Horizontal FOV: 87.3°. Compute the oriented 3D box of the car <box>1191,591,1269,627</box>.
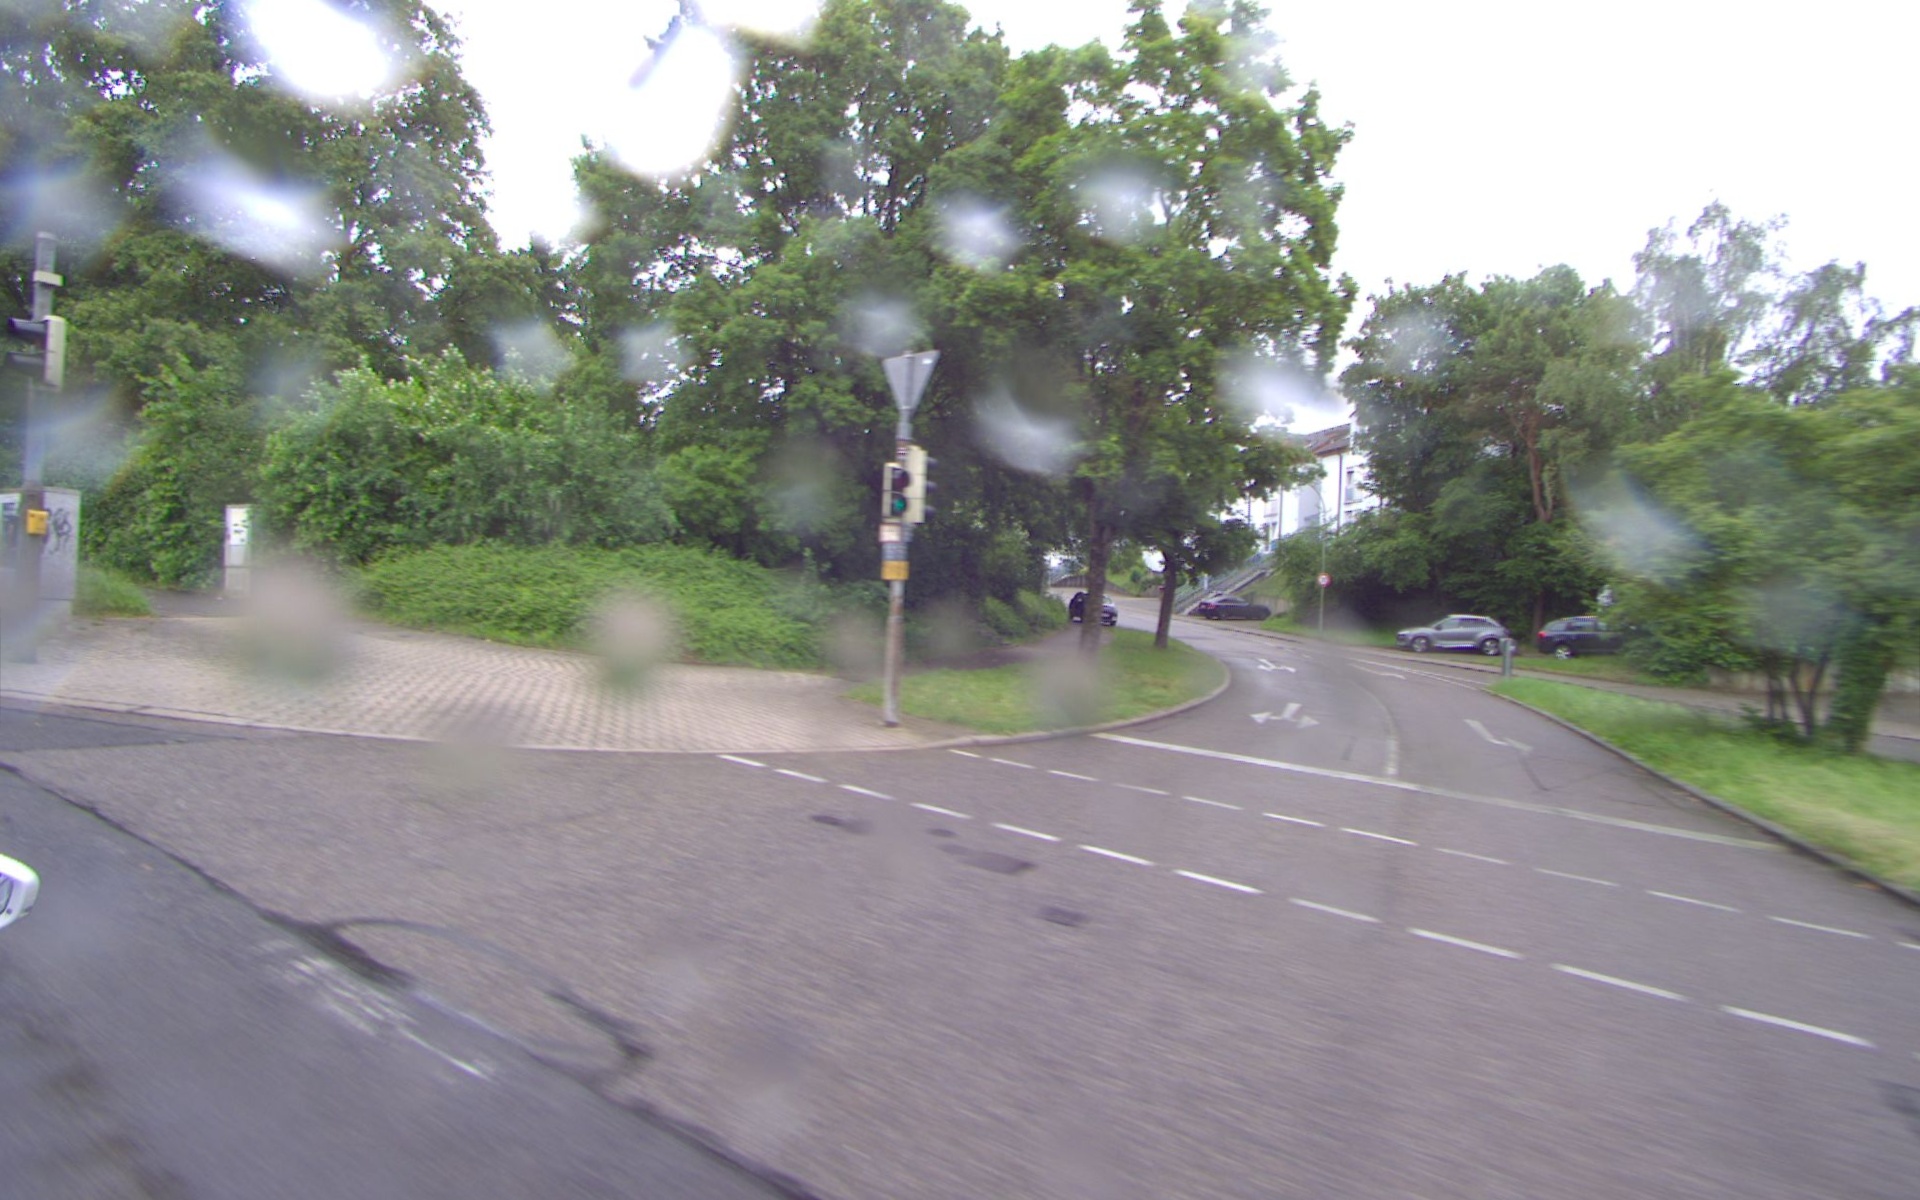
[{"bbox_3d":[16.156,0.549,60.369,3.935,1.669,1.951,6,2,-13],"label":"car"}]

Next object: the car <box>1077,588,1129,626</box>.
[{"bbox_3d":[7.047,0.345,49.251,1.794,1.591,3.998,6,1,17],"label":"car"}]

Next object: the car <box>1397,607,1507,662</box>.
[{"bbox_3d":[21.512,1.492,44.135,3.925,1.924,1.956,6,2,19],"label":"car"}]
